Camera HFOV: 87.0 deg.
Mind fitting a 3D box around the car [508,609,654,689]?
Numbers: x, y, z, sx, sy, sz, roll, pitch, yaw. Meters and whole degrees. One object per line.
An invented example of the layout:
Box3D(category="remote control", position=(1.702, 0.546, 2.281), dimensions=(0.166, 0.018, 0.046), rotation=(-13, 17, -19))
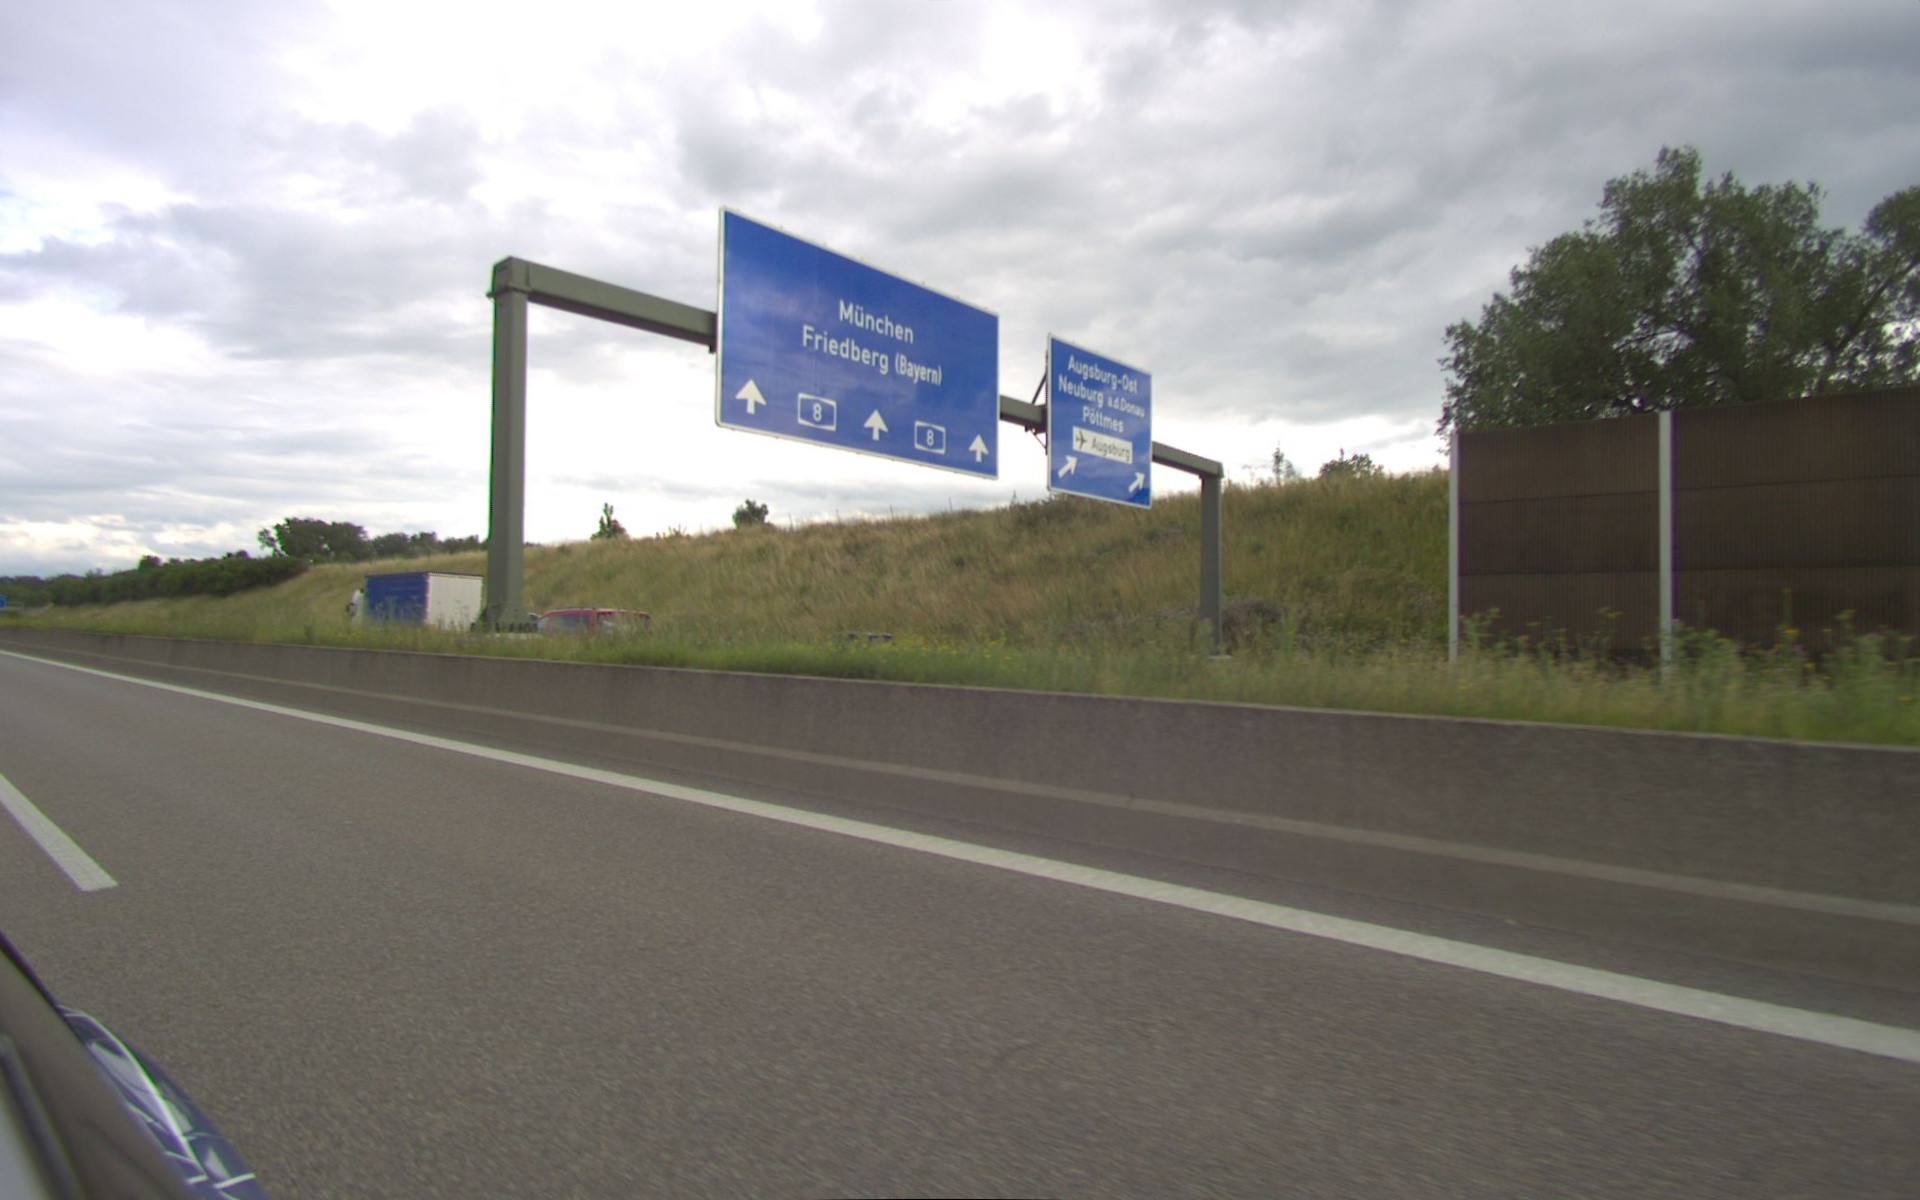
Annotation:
Box3D(category="car", position=(-9.047, 1.093, 24.079), dimensions=(3.705, 1.708, 1.695), rotation=(-1, 0, 41))

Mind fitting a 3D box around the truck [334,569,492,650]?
Box3D(category="truck", position=(-27.308, 0.528, 50.193), dimensions=(10.929, 3.630, 3.225), rotation=(-1, -2, 41))
